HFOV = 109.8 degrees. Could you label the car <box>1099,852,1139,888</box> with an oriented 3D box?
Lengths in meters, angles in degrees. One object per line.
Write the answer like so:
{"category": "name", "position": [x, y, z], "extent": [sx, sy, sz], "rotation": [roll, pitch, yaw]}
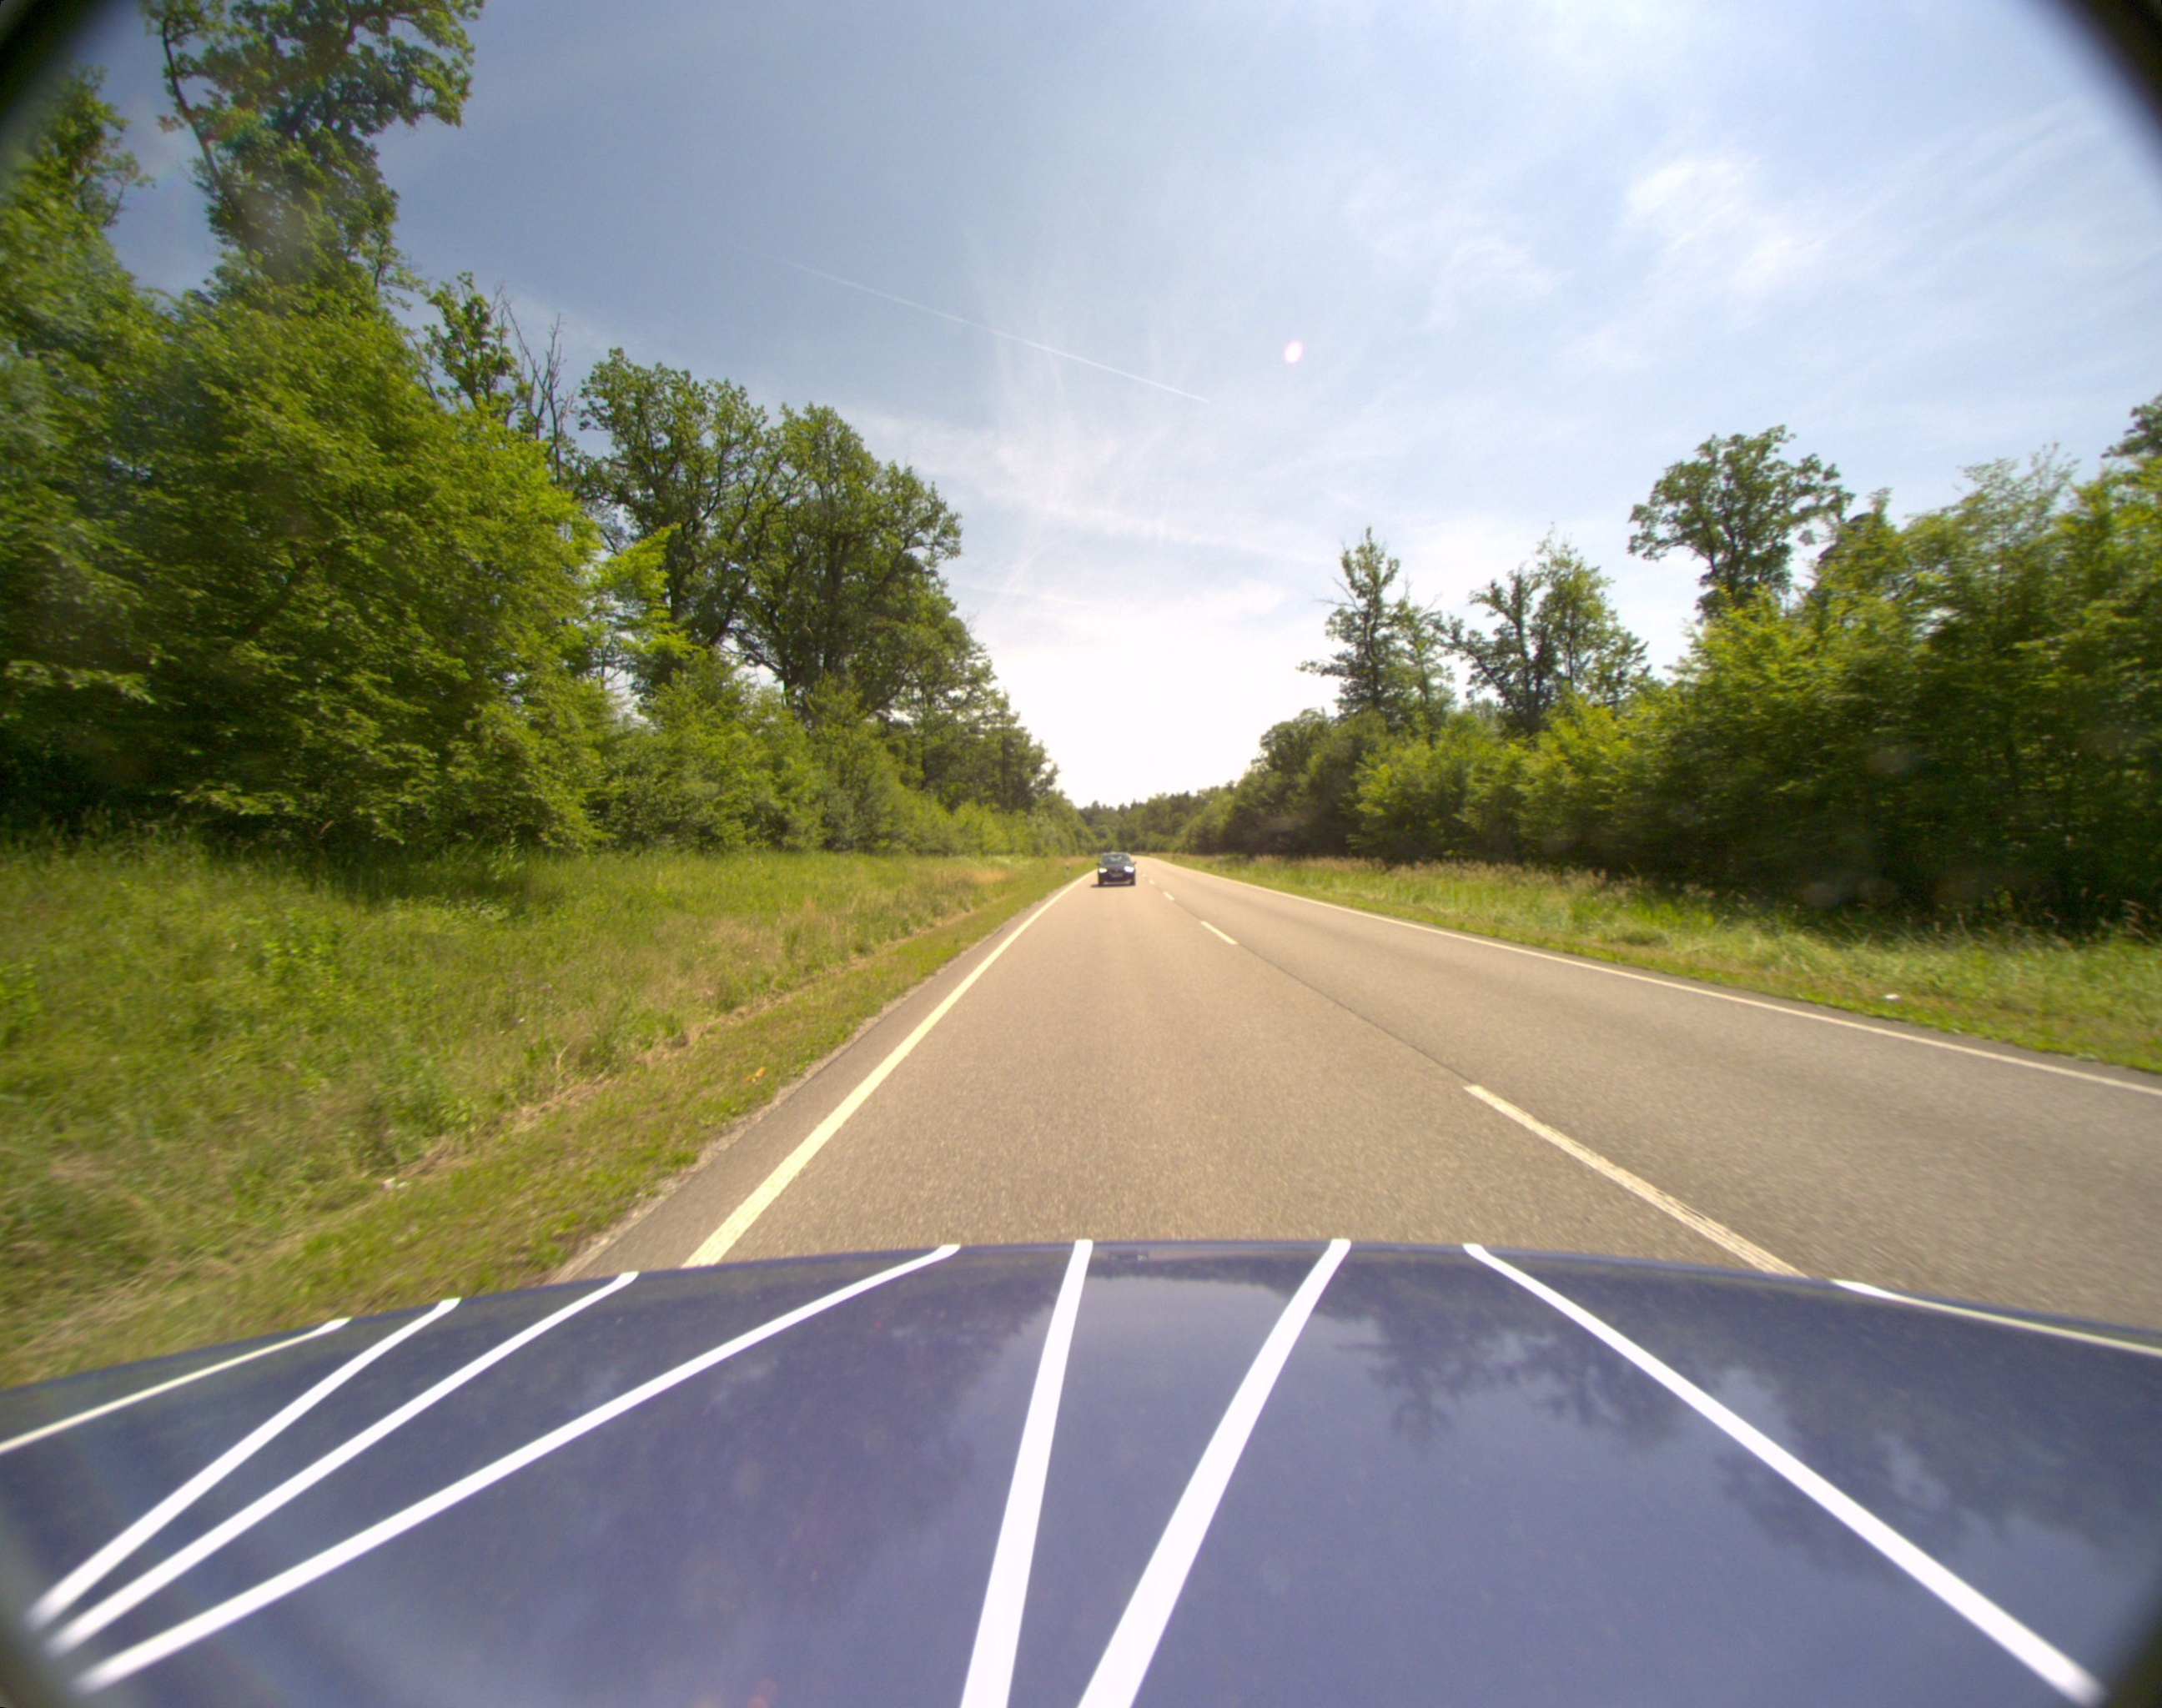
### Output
{"category": "car", "position": [1.856, 0.720, 36.074], "extent": [1.713, 1.516, 4.243], "rotation": [-2, 0, 4]}

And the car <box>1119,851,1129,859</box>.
{"category": "car", "position": [8.041, 0.143, 141.450], "extent": [1.776, 1.454, 3.948], "rotation": [-1, 0, 1]}
